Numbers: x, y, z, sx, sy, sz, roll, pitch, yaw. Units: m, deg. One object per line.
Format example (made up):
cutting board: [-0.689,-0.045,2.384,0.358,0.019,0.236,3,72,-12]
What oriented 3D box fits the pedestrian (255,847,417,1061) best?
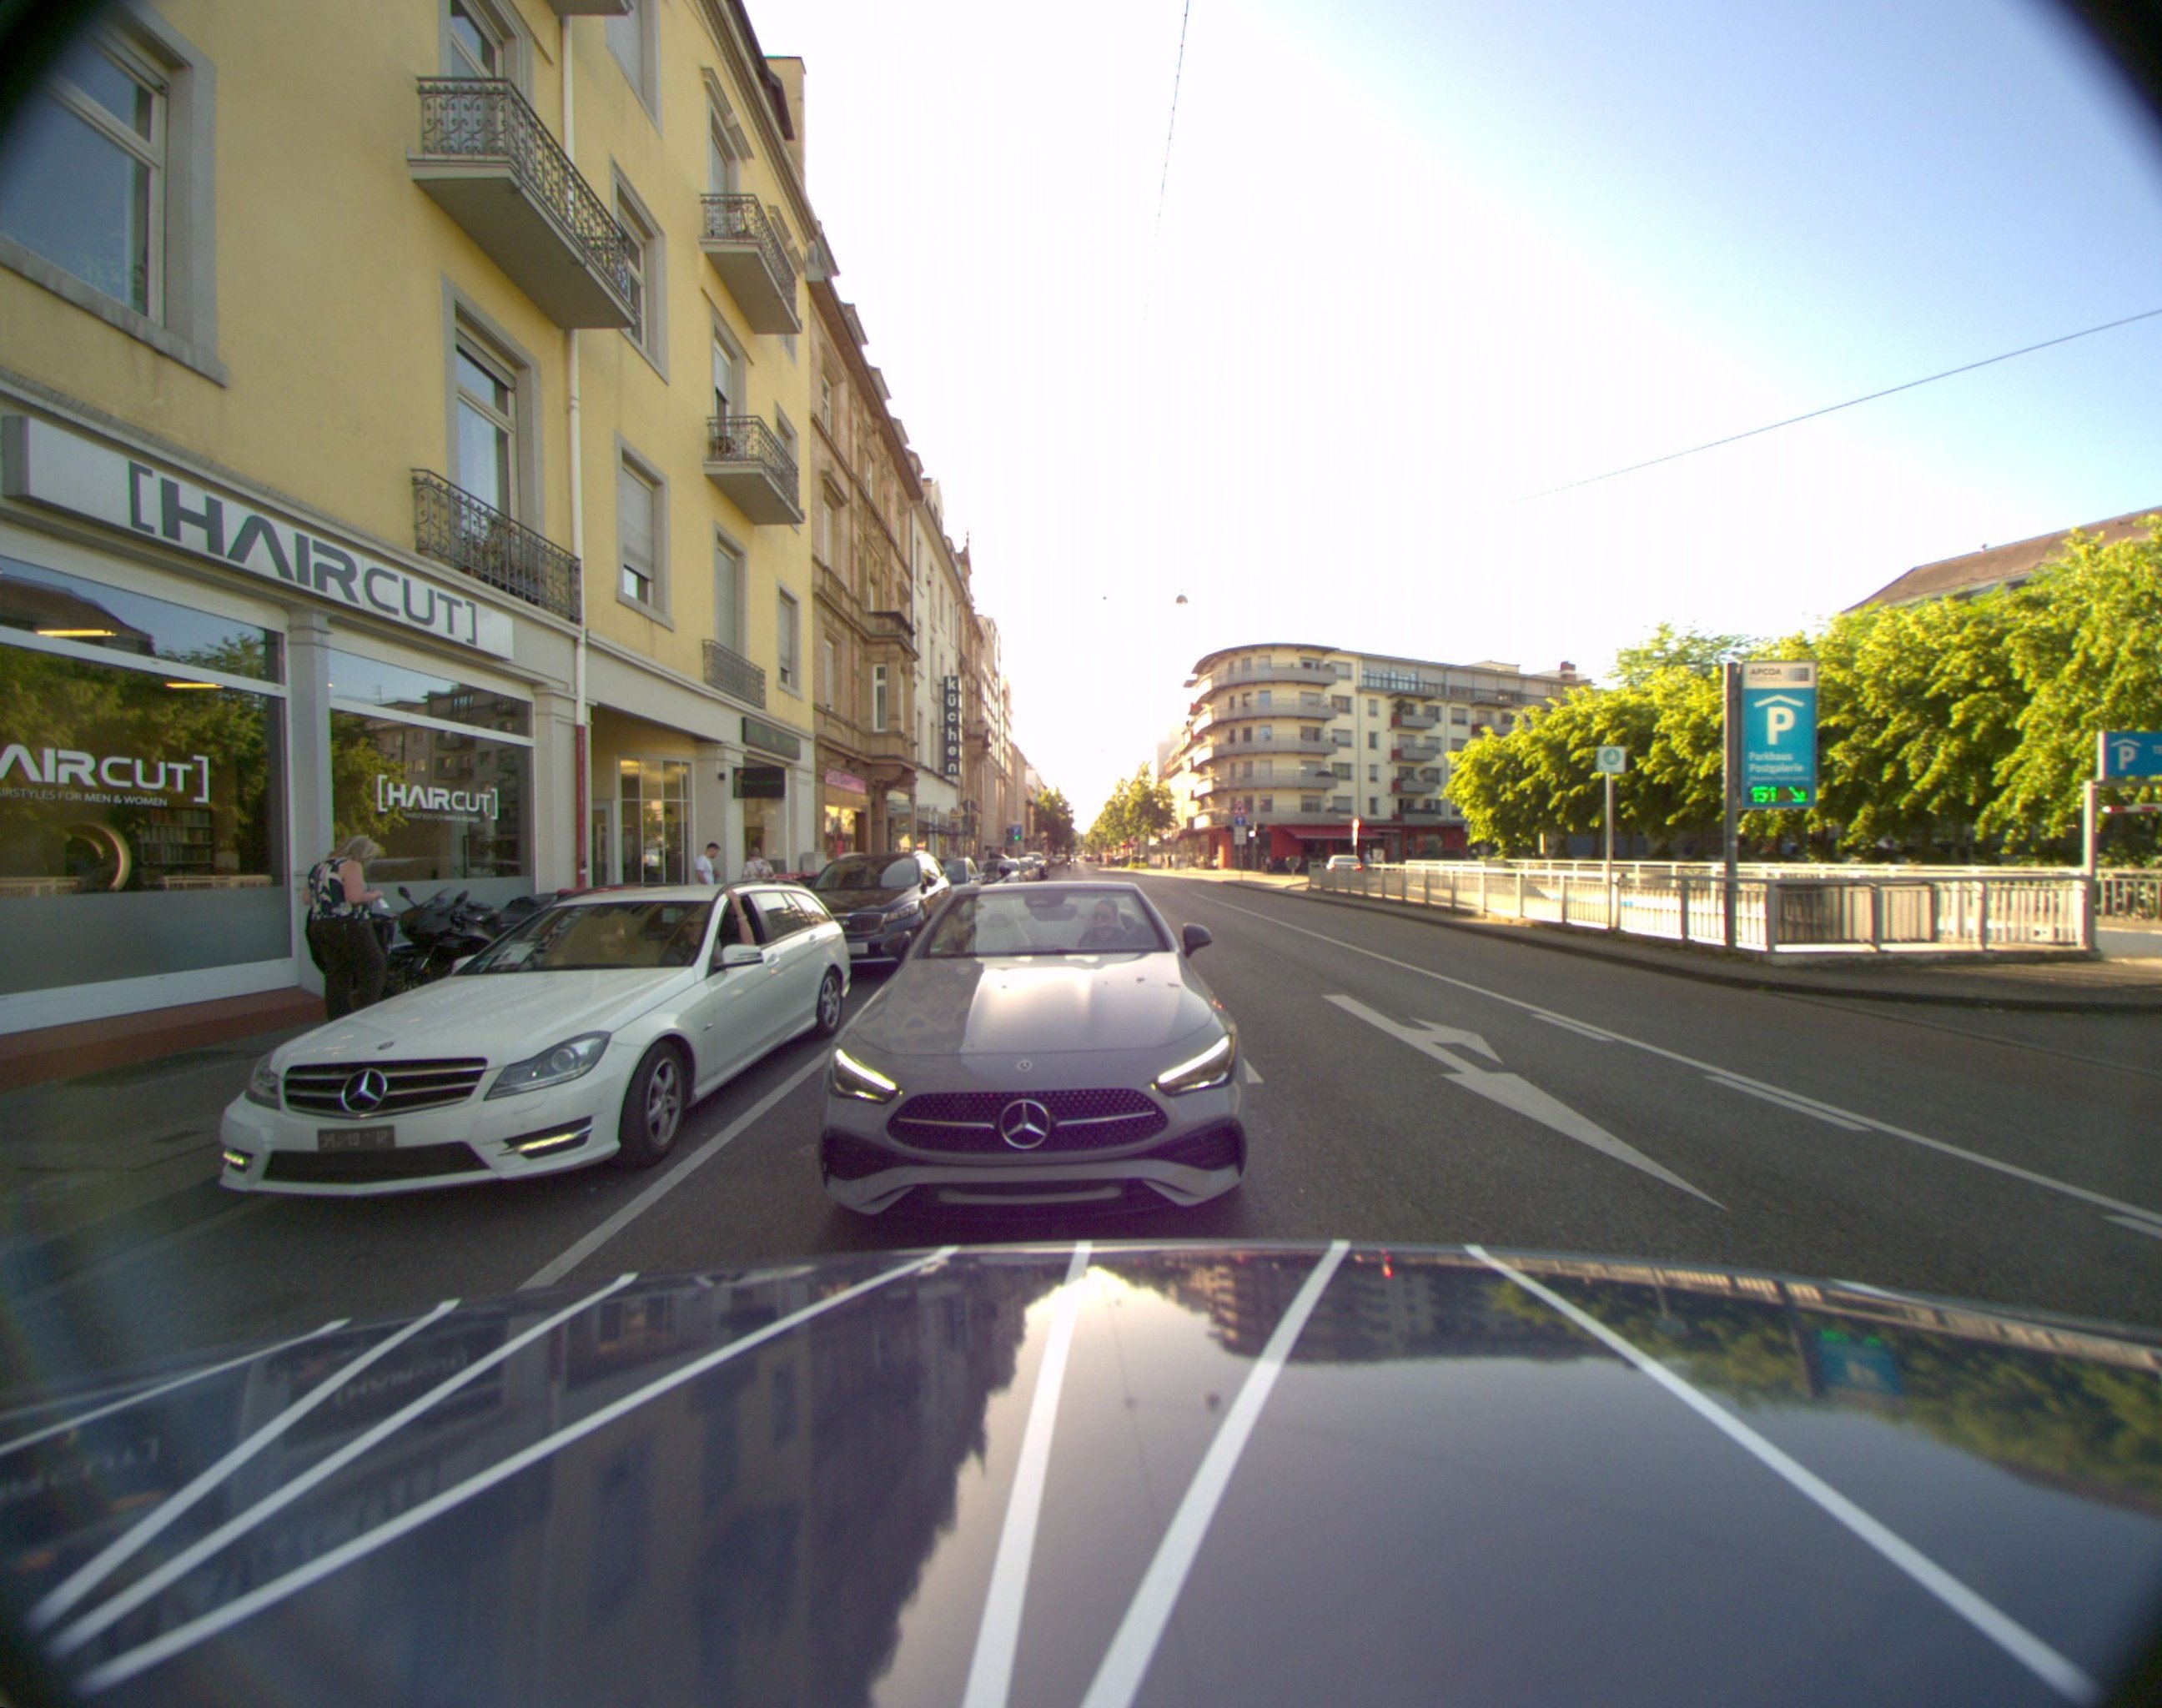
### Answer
pedestrian: [-6.037,0.775,6.191,0.719,1.644,0.606,1,1,1]

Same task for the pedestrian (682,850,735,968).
pedestrian: [-6.385,0.915,13.037,0.373,1.971,0.695,0,1,23]

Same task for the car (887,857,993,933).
car: [-3.300,0.907,18.561,1.802,1.518,4.085,-2,1,-1]

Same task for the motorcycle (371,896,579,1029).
motorcycle: [-6.182,1.045,7.915,0.567,1.072,1.954,2,1,1]

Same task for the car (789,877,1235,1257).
car: [-0.257,0.953,5.156,1.802,1.351,3.999,-2,1,1]

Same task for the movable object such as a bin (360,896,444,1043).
movable object such as a bin: [-5.981,0.999,6.704,0.391,1.231,0.394,1,1,1]

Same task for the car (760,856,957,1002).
car: [-3.027,0.910,11.300,1.803,1.629,4.243,-2,1,-3]

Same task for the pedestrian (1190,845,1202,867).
pedestrian: [10.304,0.176,68.130,0.860,2.002,0.889,-2,1,0]

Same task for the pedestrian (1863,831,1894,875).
pedestrian: [31.690,-0.027,30.204,0.647,1.711,0.607,-3,1,-19]

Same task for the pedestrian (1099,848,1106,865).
pedestrian: [2.711,0.313,94.609,0.792,2.002,0.889,-2,1,1]

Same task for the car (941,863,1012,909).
car: [-3.404,1.002,25.495,1.802,1.259,4.085,-2,1,-1]

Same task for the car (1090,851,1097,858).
car: [2.809,0.108,171.024,1.615,1.534,3.931,-1,0,1]

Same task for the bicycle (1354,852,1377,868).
bicycle: [21.318,0.432,56.849,1.594,1.163,0.527,-2,1,-18]

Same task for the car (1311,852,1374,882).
car: [13.322,0.613,38.937,1.823,1.346,4.264,1,1,1]

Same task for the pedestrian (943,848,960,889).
pedestrian: [-5.953,0.678,34.836,0.574,1.840,0.665,-2,1,1]

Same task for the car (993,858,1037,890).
car: [-3.117,0.910,36.726,1.802,1.332,3.838,-2,1,-1]

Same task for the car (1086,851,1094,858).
car: [2.034,0.192,170.373,1.615,1.534,3.931,-1,0,1]

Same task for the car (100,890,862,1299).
car: [-3.061,1.082,5.267,1.704,1.351,4.378,-2,1,1]

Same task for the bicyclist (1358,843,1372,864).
bicyclist: [21.251,-0.023,56.821,0.799,1.539,0.524,-3,1,-18]

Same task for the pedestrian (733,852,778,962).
pedestrian: [-5.695,0.907,13.281,0.576,1.840,0.663,-3,1,-30]

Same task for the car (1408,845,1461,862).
car: [29.045,-0.057,62.437,4.004,1.294,1.753,-2,1,-23]

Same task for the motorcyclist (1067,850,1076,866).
motorcyclist: [-0.843,0.331,68.882,0.722,1.438,0.705,-2,1,1]

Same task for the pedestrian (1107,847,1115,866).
pedestrian: [3.287,0.270,83.354,0.860,2.002,0.889,-2,1,1]

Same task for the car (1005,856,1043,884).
car: [-3.032,0.836,40.951,1.725,1.332,3.668,-2,1,-1]

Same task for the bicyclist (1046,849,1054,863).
bicyclist: [-3.712,0.257,91.208,0.885,1.625,0.768,-2,1,-1]

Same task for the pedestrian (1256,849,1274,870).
pedestrian: [14.039,0.397,57.943,0.863,1.586,0.887,-3,1,-38]

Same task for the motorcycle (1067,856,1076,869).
motorcycle: [-0.823,0.772,68.913,0.720,1.177,1.906,-2,1,1]

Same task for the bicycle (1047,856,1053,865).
bicycle: [-3.711,0.801,91.272,0.641,1.078,2.061,-1,0,-1]

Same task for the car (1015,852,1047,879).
car: [-3.095,0.696,47.730,1.725,1.506,4.004,-2,1,-1]

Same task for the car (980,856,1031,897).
car: [-2.993,0.844,30.773,1.660,1.423,4.085,-2,1,-1]
